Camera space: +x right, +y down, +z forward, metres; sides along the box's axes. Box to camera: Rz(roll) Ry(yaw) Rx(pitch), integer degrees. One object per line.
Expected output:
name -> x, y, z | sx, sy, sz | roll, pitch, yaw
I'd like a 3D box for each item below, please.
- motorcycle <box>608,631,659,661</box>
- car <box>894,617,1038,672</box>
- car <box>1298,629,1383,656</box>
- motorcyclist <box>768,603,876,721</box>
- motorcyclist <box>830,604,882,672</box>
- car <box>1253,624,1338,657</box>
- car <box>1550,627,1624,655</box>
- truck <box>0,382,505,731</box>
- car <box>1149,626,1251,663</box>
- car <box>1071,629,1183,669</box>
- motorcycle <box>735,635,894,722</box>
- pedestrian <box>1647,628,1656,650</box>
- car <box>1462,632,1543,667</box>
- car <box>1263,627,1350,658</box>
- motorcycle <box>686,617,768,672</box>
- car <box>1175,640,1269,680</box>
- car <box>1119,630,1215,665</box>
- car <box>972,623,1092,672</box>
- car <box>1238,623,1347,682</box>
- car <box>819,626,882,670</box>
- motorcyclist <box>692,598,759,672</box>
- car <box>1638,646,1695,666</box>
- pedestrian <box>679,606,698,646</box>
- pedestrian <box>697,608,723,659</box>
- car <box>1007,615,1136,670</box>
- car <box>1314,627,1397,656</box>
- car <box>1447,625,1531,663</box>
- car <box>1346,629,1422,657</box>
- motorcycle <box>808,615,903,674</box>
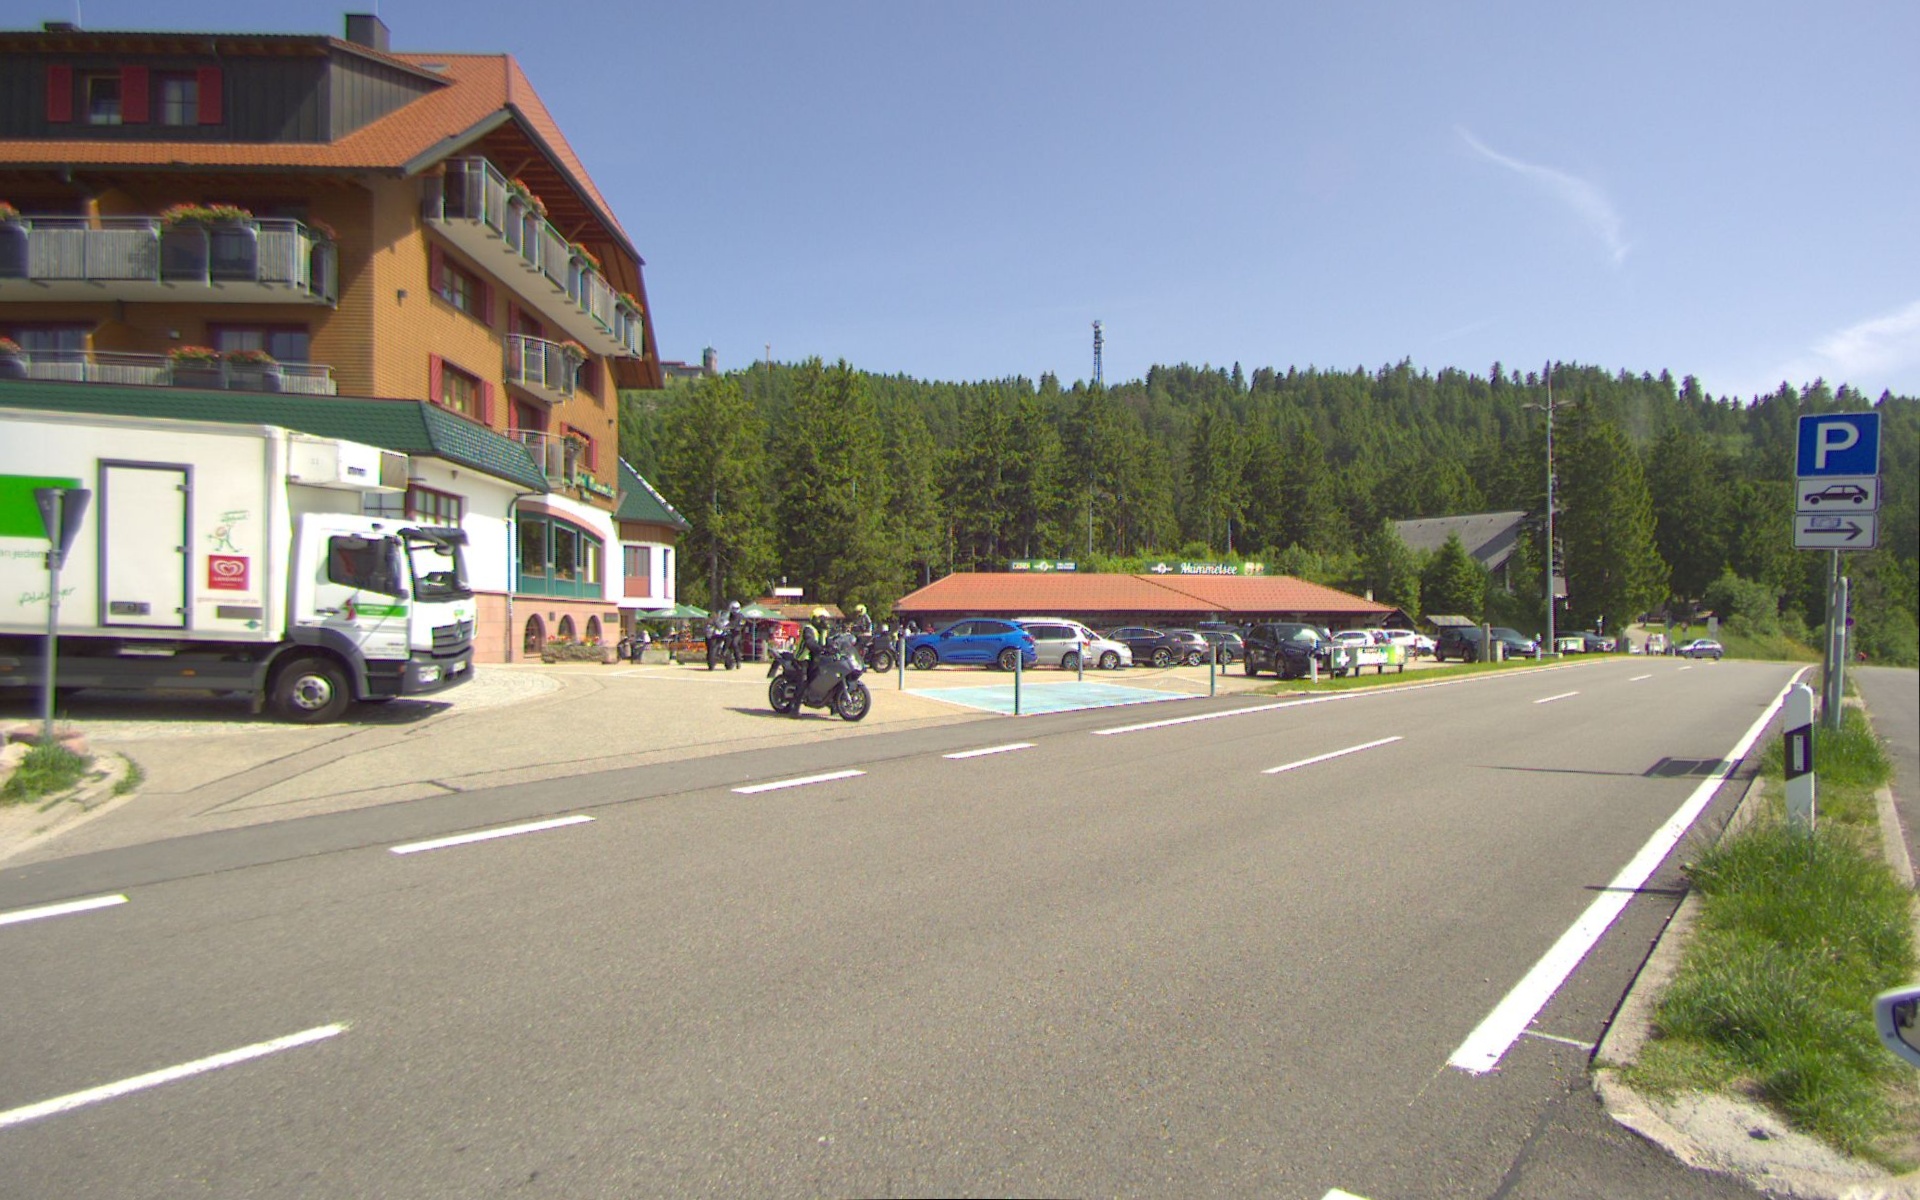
motorcycle -> -12.493, 1.762, 38.447 | 1.759, 0.999, 0.479 | 3, 4, -11
car -> 0.157, 1.401, 32.036 | 4.457, 1.686, 1.939 | 1, -1, -3
car -> 20.916, 2.317, 55.298 | 3.922, 1.439, 1.907 | -1, -2, -3
motorcyclist -> -2.081, 0.915, 15.279 | 1.267, 1.697, 1.029 | 1, -1, 17
motorcyclist -> -2.793, 1.008, 26.832 | 1.226, 1.742, 1.063 | 3, -2, -10
car -> 16.912, 2.015, 50.705 | 3.660, 1.609, 1.735 | -1, -1, -3
car -> 39.820, 2.578, 63.906 | 1.756, 1.655, 4.206 | 2, -2, -8
truck -> -11.118, -0.553, 13.338 | 8.616, 4.025, 3.063 | 2, 1, -11
car -> 10.396, 1.923, 43.680 | 4.000, 1.505, 1.716 | -1, -1, -3
car -> 6.423, 1.871, 38.840 | 3.923, 1.449, 1.913 | -1, -1, -4
motorcycle -> -2.222, 1.170, 15.330 | 2.240, 1.192, 0.825 | 1, -1, 17
pedestrian -> 59.725, 3.365, 86.724 | 0.644, 1.823, 0.641 | 0, 0, 36
car -> 26.618, 2.421, 49.447 | 1.706, 1.588, 4.059 | 1, -1, -2
car -> 18.280, 2.241, 53.085 | 3.922, 1.565, 1.899 | -1, -1, -2
motorcycle -> -5.833, 1.128, 25.305 | 0.862, 1.273, 2.278 | 3, -2, 19
car -> 12.063, 2.763, 46.415 | 3.920, 1.726, 1.827 | -1, -1, 2
car -> 8.473, 1.927, 41.310 | 3.570, 1.339, 1.587 | -1, -1, -5
car -> 2.406, 1.601, 34.388 | 3.922, 1.566, 2.000 | -1, -1, -2
car -> 9.495, 1.452, 29.040 | 1.772, 1.560, 4.193 | -1, -1, 0
car -> -3.548, 1.535, 33.154 | 1.680, 1.314, 4.000 | -1, -1, -1
motorcyclist -> -5.871, 0.883, 25.223 | 0.907, 1.740, 1.452 | 3, -2, 19
car -> 54.661, 4.301, 77.722 | 3.307, 1.447, 1.584 | -1, -1, -4
pedestrian -> -16.077, 1.519, 59.465 | 0.807, 2.314, 0.725 | -3, 0, -31
pedestrian -> -8.195, 1.101, 32.918 | 0.613, 1.654, 0.703 | -1, -1, 5
car -> 3.979, 1.534, 36.445 | 4.441, 1.888, 1.835 | -1, -1, -1
car -> 22.686, 2.353, 57.704 | 3.922, 1.594, 2.000 | -1, -2, -3
car -> 23.168, 1.889, 44.166 | 1.747, 1.572, 4.002 | 0, -1, 3
car -> 26.322, 2.683, 62.464 | 3.953, 1.694, 1.776 | 0, -3, -4
motorcycle -> -2.799, 1.184, 26.802 | 2.401, 1.425, 1.004 | 3, -2, -10
